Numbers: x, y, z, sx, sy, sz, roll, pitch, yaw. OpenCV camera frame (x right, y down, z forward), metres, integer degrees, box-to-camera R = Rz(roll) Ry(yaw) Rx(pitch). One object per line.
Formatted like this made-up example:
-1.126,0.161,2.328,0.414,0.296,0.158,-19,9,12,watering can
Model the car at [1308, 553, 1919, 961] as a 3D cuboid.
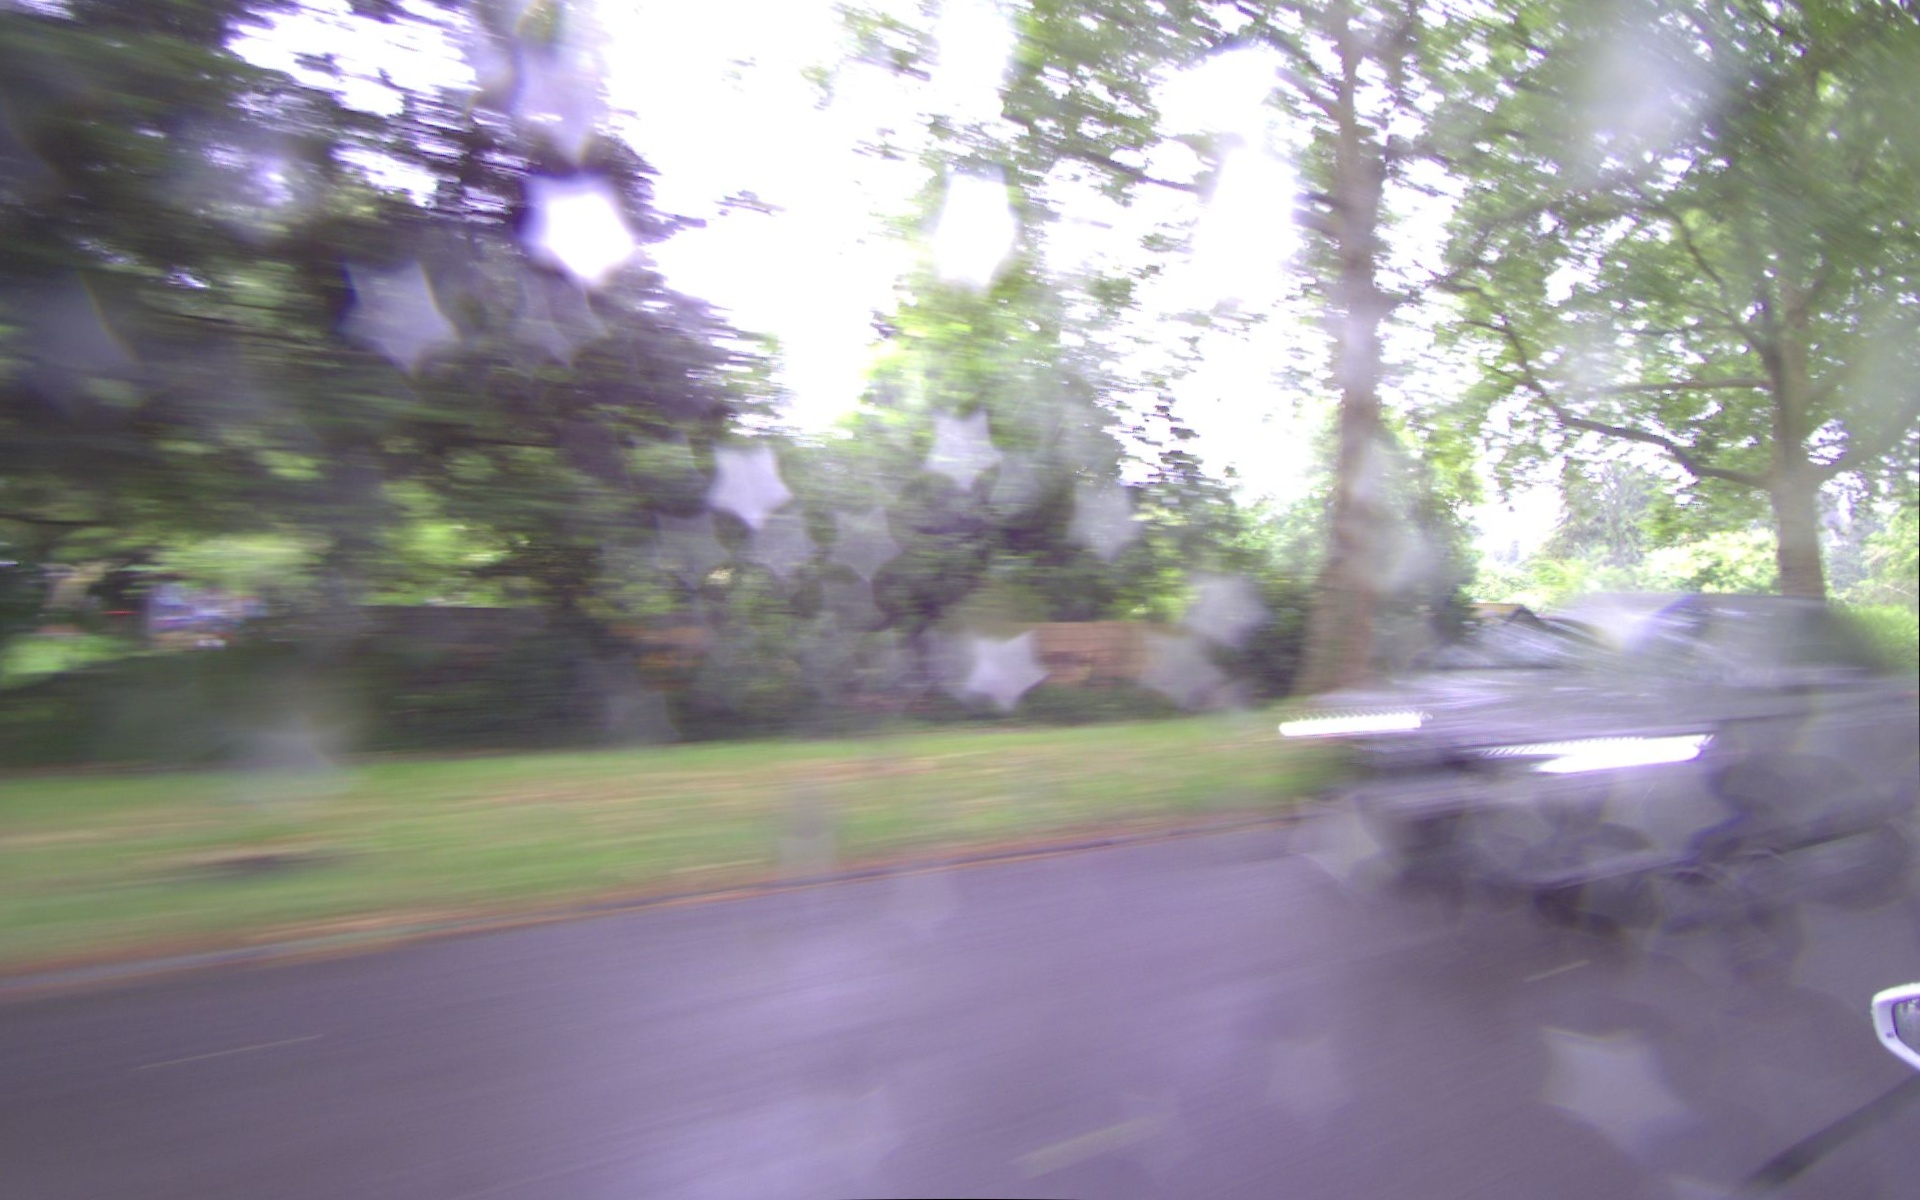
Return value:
4.394,0.709,6.216,4.403,1.751,1.799,2,1,-31,car
